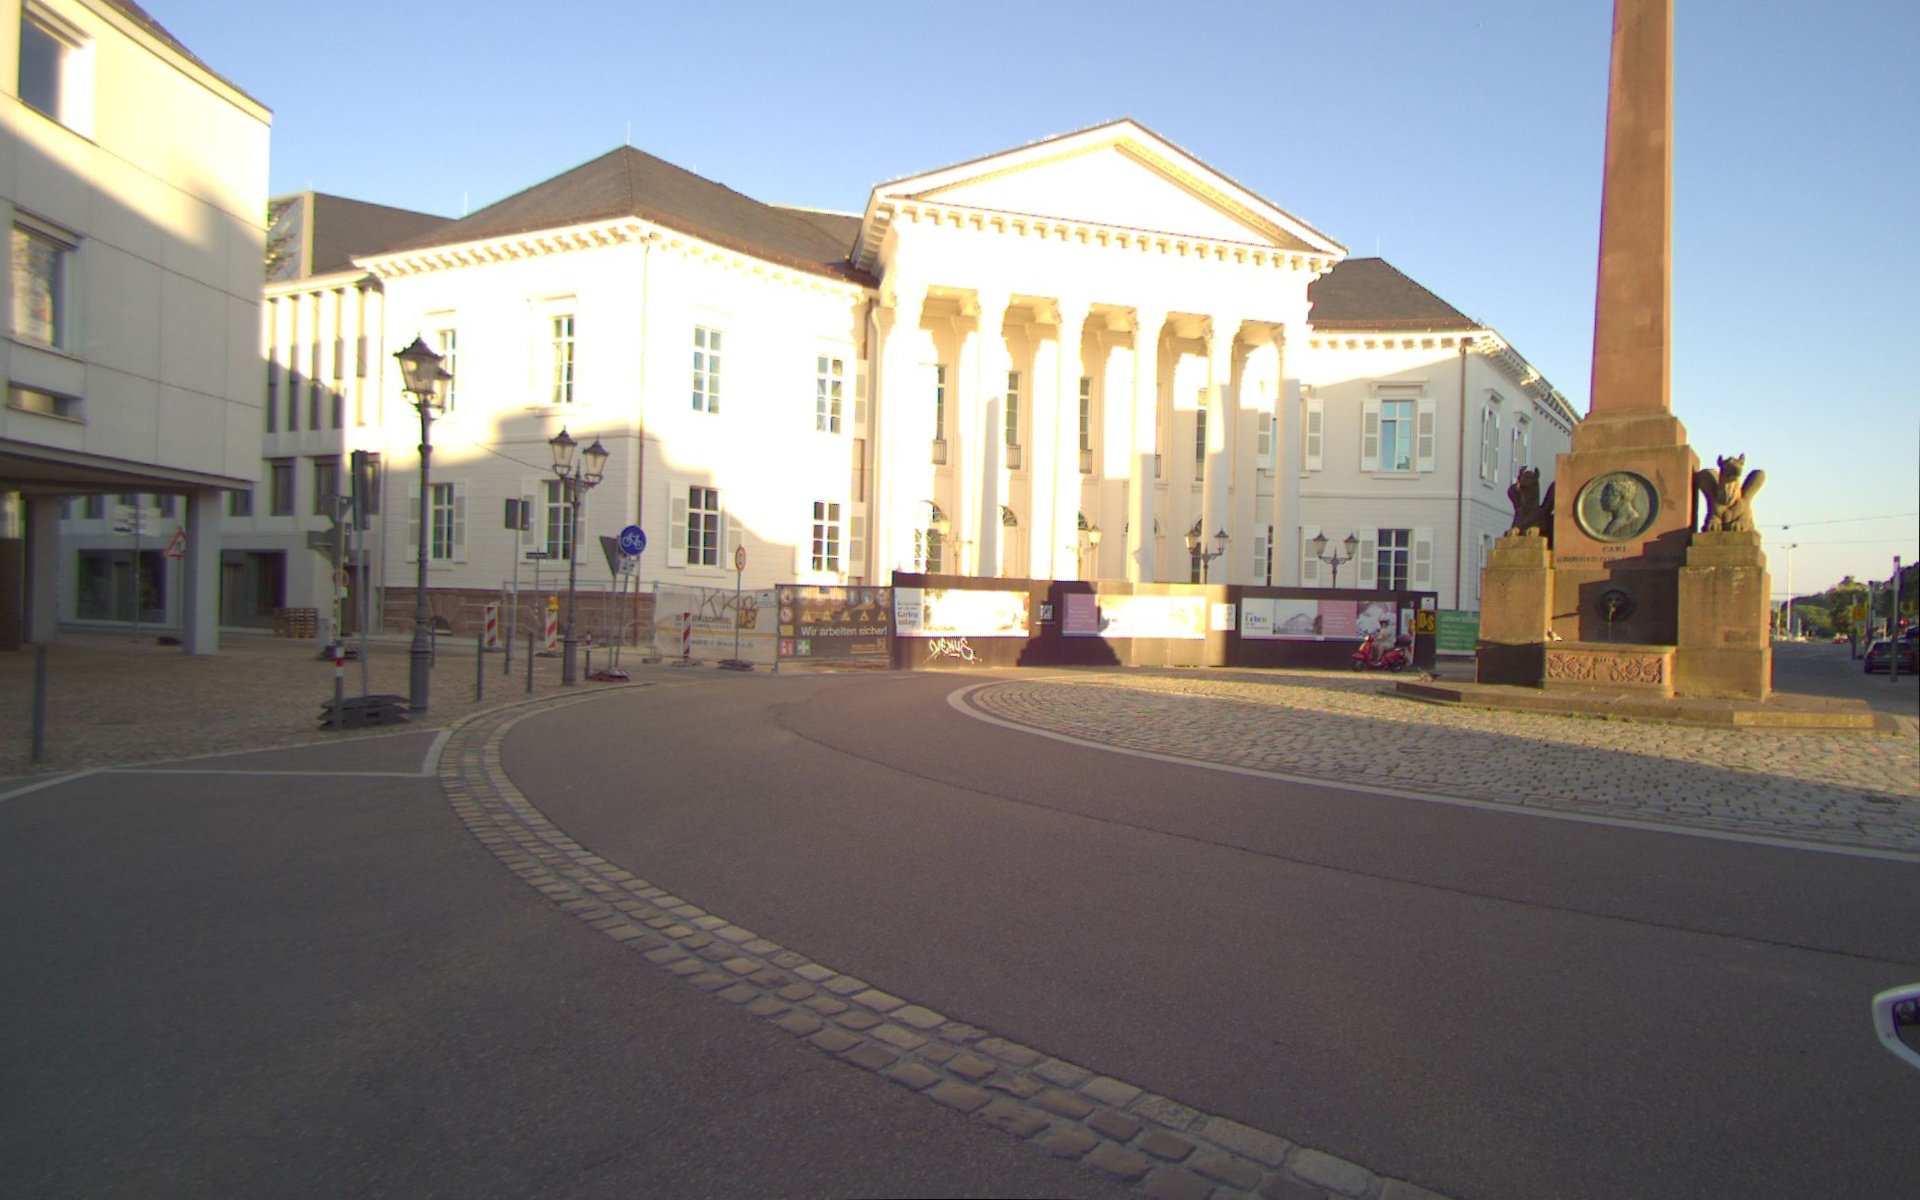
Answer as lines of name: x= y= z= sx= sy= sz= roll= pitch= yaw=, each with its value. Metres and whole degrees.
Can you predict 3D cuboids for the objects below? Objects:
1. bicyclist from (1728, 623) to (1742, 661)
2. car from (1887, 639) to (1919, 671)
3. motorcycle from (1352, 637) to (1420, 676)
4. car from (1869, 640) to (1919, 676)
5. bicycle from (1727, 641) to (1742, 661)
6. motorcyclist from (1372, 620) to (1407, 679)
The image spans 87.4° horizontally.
bicyclist: x=47.144 y=2.549 z=61.075 sx=0.593 sy=2.272 sz=0.799 roll=1 pitch=0 yaw=42
car: x=47.900 y=2.739 z=50.388 sx=1.972 sy=1.483 sz=3.978 roll=1 pitch=-1 yaw=42
motorcycle: x=12.340 y=1.636 z=29.098 sx=1.722 sy=1.045 sz=0.601 roll=2 pitch=0 yaw=-6
car: x=41.714 y=2.548 z=44.624 sx=1.972 sy=1.483 sz=3.978 roll=1 pitch=-1 yaw=42
bicycle: x=47.124 y=3.092 z=61.078 sx=0.593 sy=1.153 sz=1.746 roll=1 pitch=-1 yaw=42
motorcyclist: x=12.438 y=1.421 z=29.105 sx=0.679 sy=1.674 sz=0.601 roll=1 pitch=0 yaw=-6
